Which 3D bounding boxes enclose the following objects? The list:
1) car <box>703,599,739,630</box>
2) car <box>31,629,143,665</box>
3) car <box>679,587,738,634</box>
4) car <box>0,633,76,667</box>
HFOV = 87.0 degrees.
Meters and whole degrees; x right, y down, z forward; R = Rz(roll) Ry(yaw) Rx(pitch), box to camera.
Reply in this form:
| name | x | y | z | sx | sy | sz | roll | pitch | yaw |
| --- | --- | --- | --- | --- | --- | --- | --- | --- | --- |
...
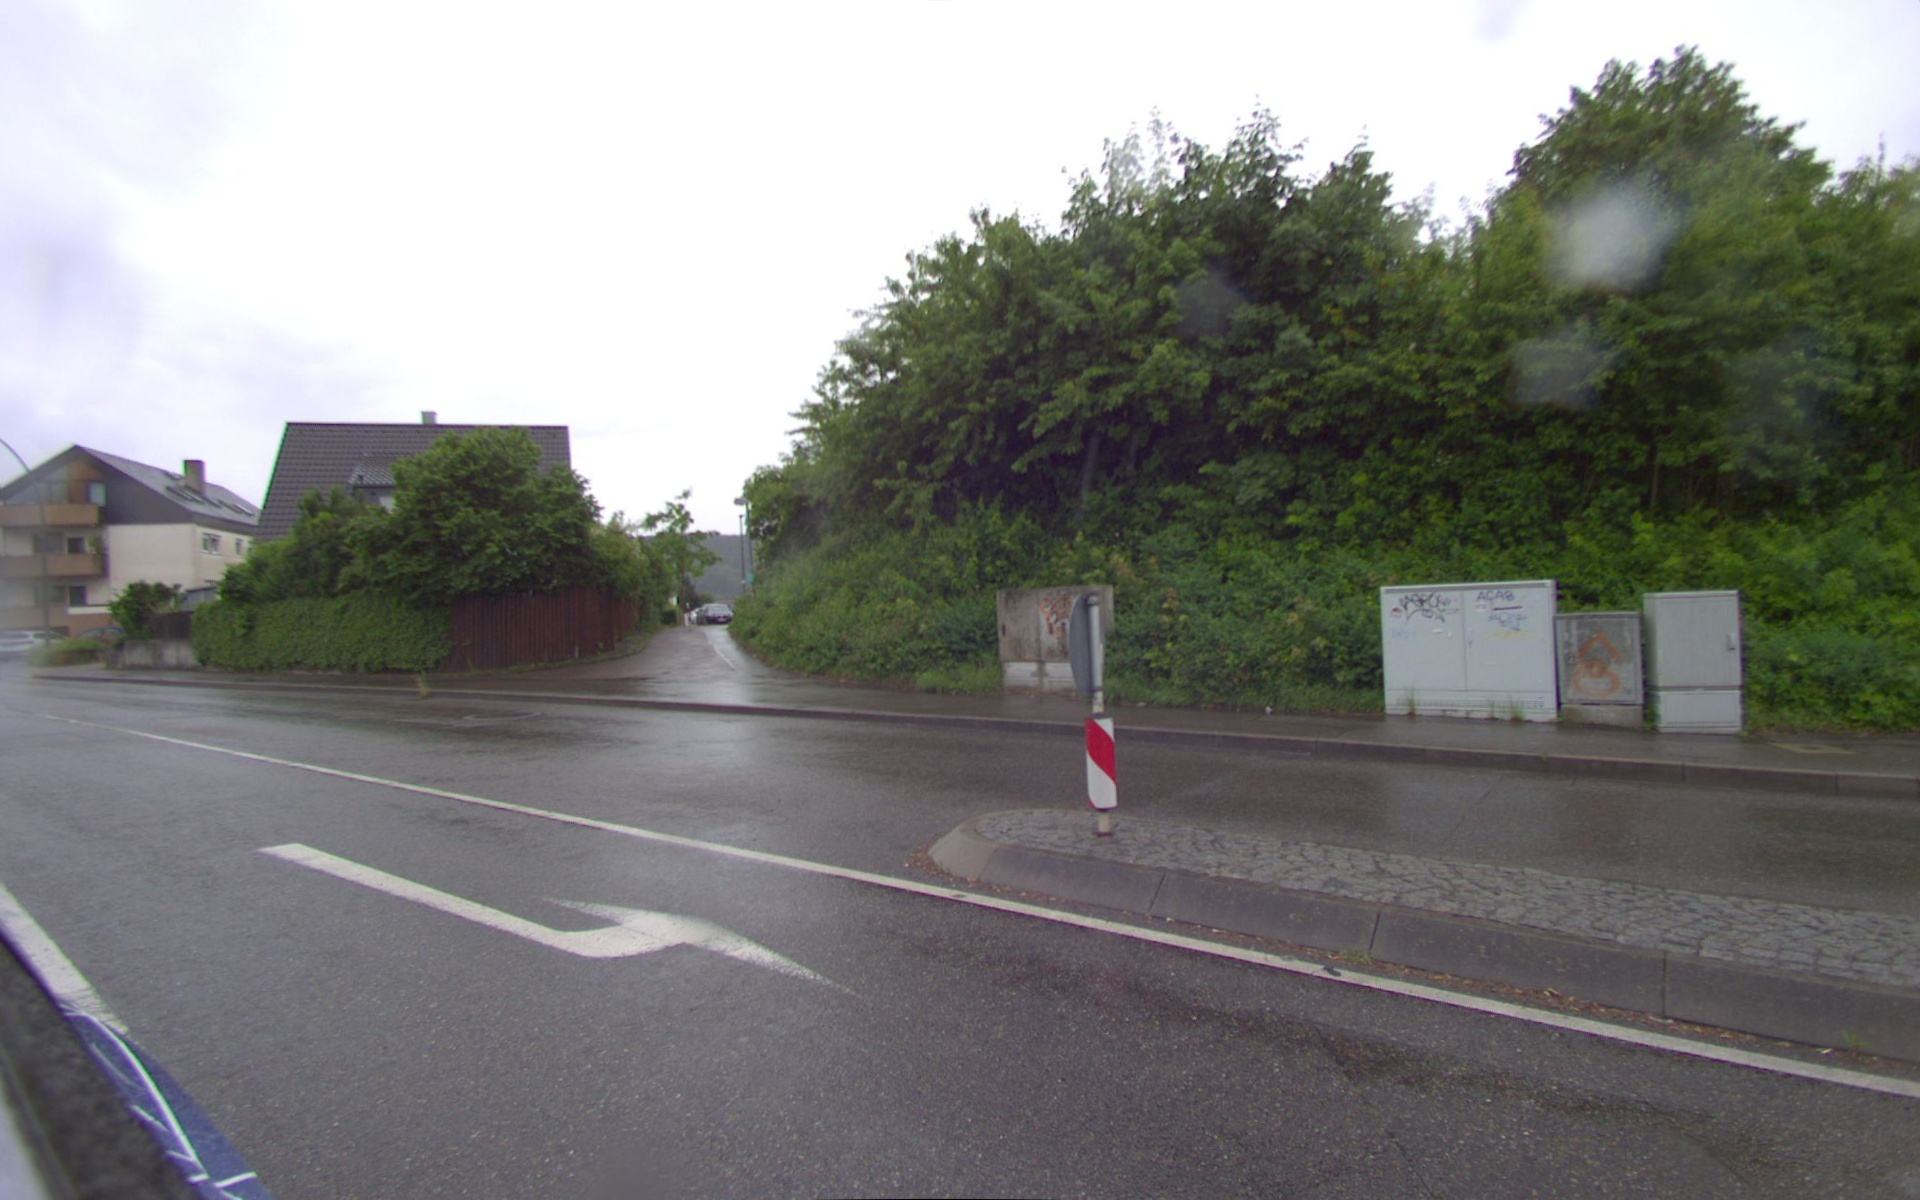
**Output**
| name | x | y | z | sx | sy | sz | roll | pitch | yaw |
| --- | --- | --- | --- | --- | --- | --- | --- | --- | --- |
| car | -15.578 | 0.942 | 66.176 | 1.968 | 1.873 | 4.008 | -2 | 0 | -9 |
| car | -41.676 | 2.229 | 48.399 | 3.609 | 1.530 | 1.759 | -2 | 0 | -15 |
| car | -9.165 | 0.380 | 37.054 | 1.683 | 1.600 | 3.668 | -1 | 0 | -8 |
| car | -46.801 | 2.501 | 51.049 | 1.837 | 1.530 | 4.012 | -2 | 0 | -18 |
